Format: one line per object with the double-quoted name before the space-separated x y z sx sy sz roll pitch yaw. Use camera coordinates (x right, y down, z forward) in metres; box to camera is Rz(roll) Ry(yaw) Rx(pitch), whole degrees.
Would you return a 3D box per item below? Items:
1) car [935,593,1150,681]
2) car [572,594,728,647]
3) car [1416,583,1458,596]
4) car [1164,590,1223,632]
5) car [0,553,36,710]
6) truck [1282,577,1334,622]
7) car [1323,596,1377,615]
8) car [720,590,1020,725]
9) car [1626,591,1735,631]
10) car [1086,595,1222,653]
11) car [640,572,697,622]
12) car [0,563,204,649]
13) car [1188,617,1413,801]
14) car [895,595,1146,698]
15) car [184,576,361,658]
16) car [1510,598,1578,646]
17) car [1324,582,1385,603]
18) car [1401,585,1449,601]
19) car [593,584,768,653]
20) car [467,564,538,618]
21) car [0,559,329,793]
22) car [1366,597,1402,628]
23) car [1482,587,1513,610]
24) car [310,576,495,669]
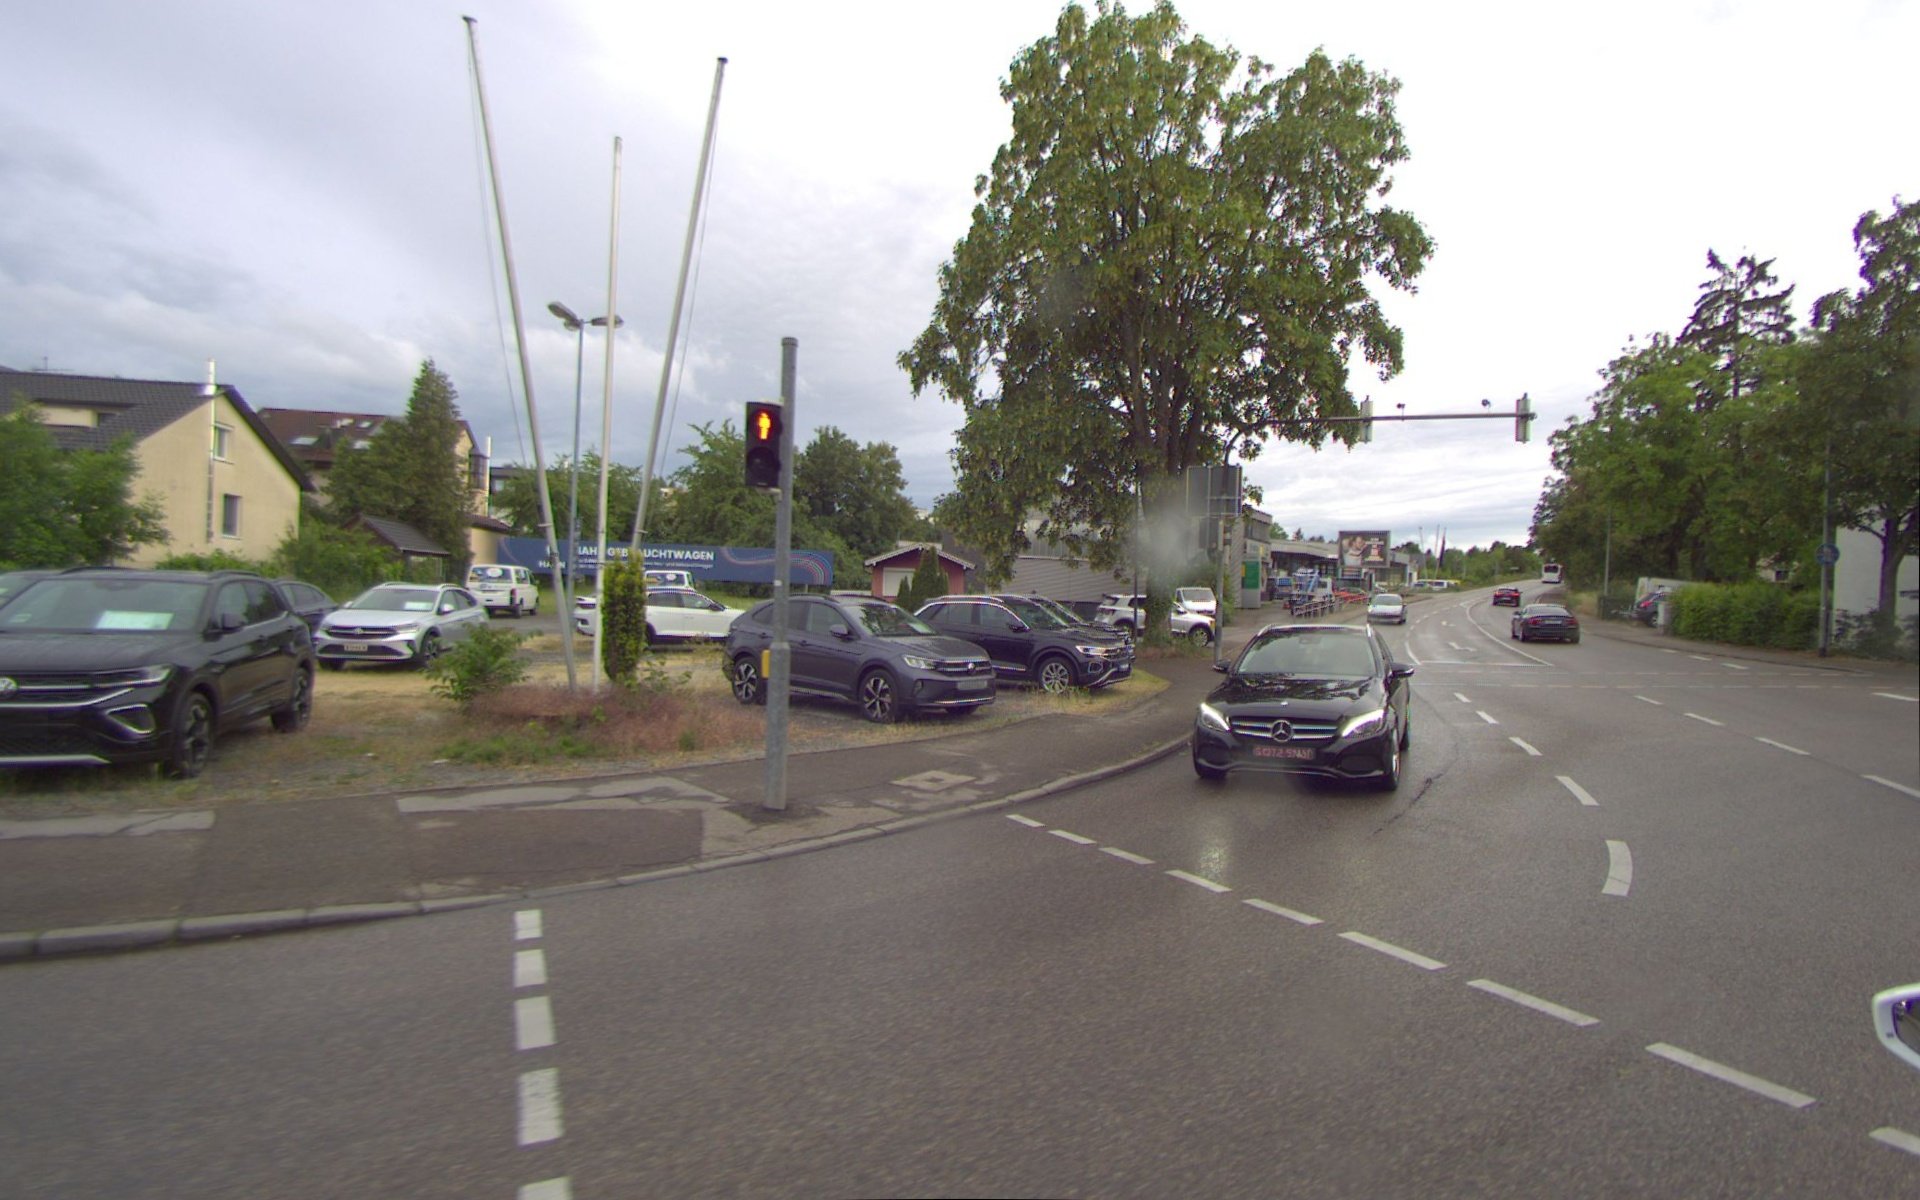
"car" 1.643 0.671 20.120 3.924 1.530 1.756 2 1 24
"car" -8.520 0.551 27.642 3.944 1.331 1.702 1 1 -24
"car" 62.805 -1.383 132.334 4.679 1.645 1.814 2 1 -1
"car" 12.055 0.512 52.118 1.961 2.021 3.998 1 1 -3
"car" -10.116 0.338 8.292 1.660 1.551 3.954 1 1 -7
"truck" 21.064 -0.072 60.651 1.964 2.573 5.548 2 2 29
"car" 31.757 0.415 81.834 3.920 1.394 1.815 2 1 16
"car" -1.290 0.650 13.338 3.923 1.511 1.748 0 1 41
"car" 33.895 0.490 47.410 3.928 1.747 1.996 2 2 30
"car" 6.330 0.777 32.965 3.927 1.542 1.757 4 1 -8
"car" -11.804 -0.167 40.890 1.966 1.896 4.439 1 1 -13
"car" -15.917 0.062 18.696 1.564 1.447 3.635 1 1 -13
"car" 3.761 0.934 10.581 1.680 1.411 4.345 0 0 26
"car" 1.019 0.717 17.225 3.928 1.576 1.754 0 1 29
"car" -12.796 0.252 18.943 1.492 1.393 3.635 1 1 -13
"car" 21.522 0.762 37.146 1.963 1.595 3.994 2 1 28
"car" 33.208 -0.643 84.548 4.681 1.645 1.813 2 1 25
"car" 53.583 -0.790 115.724 4.679 1.645 1.814 2 1 -1
"car" -6.883 0.436 24.748 3.944 1.576 1.702 1 1 -24
"car" -17.782 -0.379 39.203 1.693 2.000 4.183 1 1 -13
"car" -6.877 0.453 8.536 1.596 1.551 3.943 1 1 -17
"car" 21.225 0.573 50.282 1.561 1.423 3.705 2 1 23
"car" 41.642 -0.134 77.754 1.964 1.706 3.992 2 1 30
"car" -9.946 0.433 18.253 1.561 1.483 3.770 1 -2 -6
